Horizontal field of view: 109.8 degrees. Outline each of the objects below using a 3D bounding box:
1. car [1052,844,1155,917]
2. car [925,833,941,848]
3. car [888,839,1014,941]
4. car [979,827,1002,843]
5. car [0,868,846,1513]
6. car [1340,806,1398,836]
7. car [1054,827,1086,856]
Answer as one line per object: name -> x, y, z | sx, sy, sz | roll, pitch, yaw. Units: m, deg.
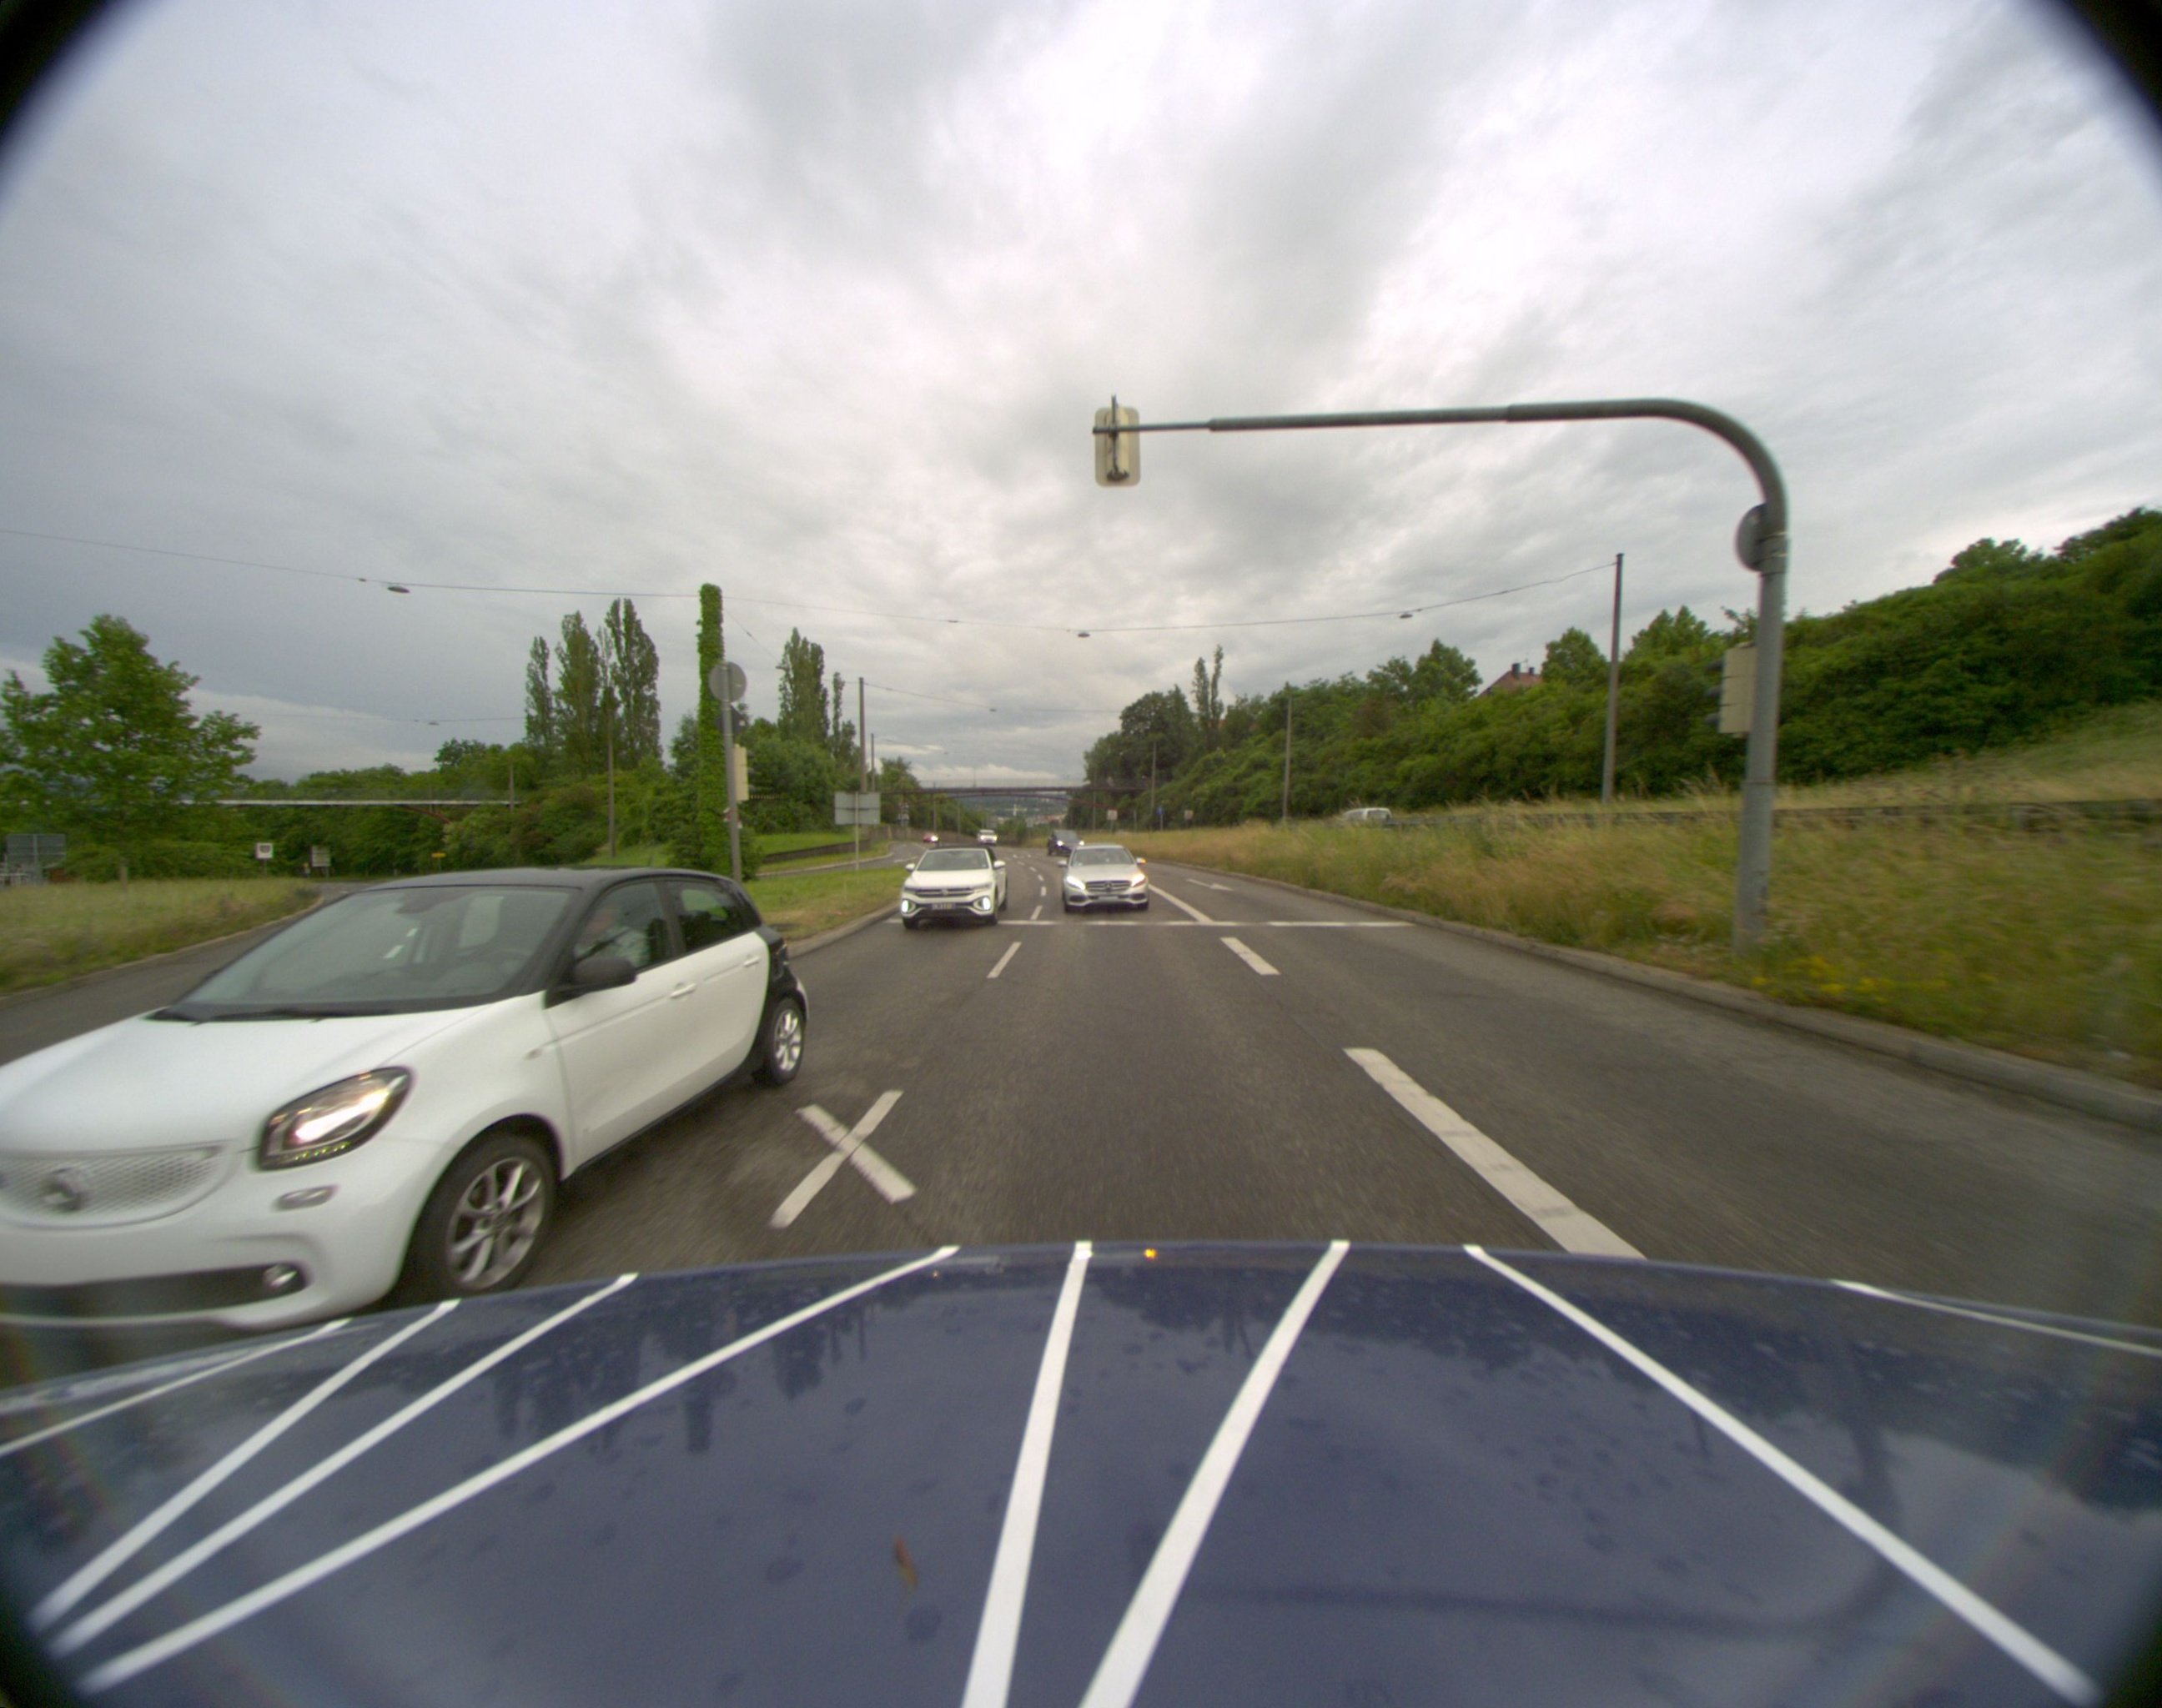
car -> 0.377, 0.512, 17.977 | 1.999, 1.400, 4.521 | -1, 2, -4
car -> -21.409, -1.973, 109.869 | 2.001, 2.002, 3.994 | -2, 1, -14
car -> -2.524, 0.626, 15.666 | 1.843, 1.533, 3.814 | -2, 5, 1
car -> -10.360, -2.149, 86.686 | 2.001, 1.682, 4.282 | -2, 1, -15
car -> -2.847, 0.907, 4.062 | 1.725, 1.513, 4.227 | 0, 1, 2
car -> 14.908, -1.706, 39.475 | 1.561, 1.424, 3.227 | -3, 2, -4
car -> -0.763, -0.820, 50.042 | 1.928, 1.725, 4.023 | -2, 1, -3
